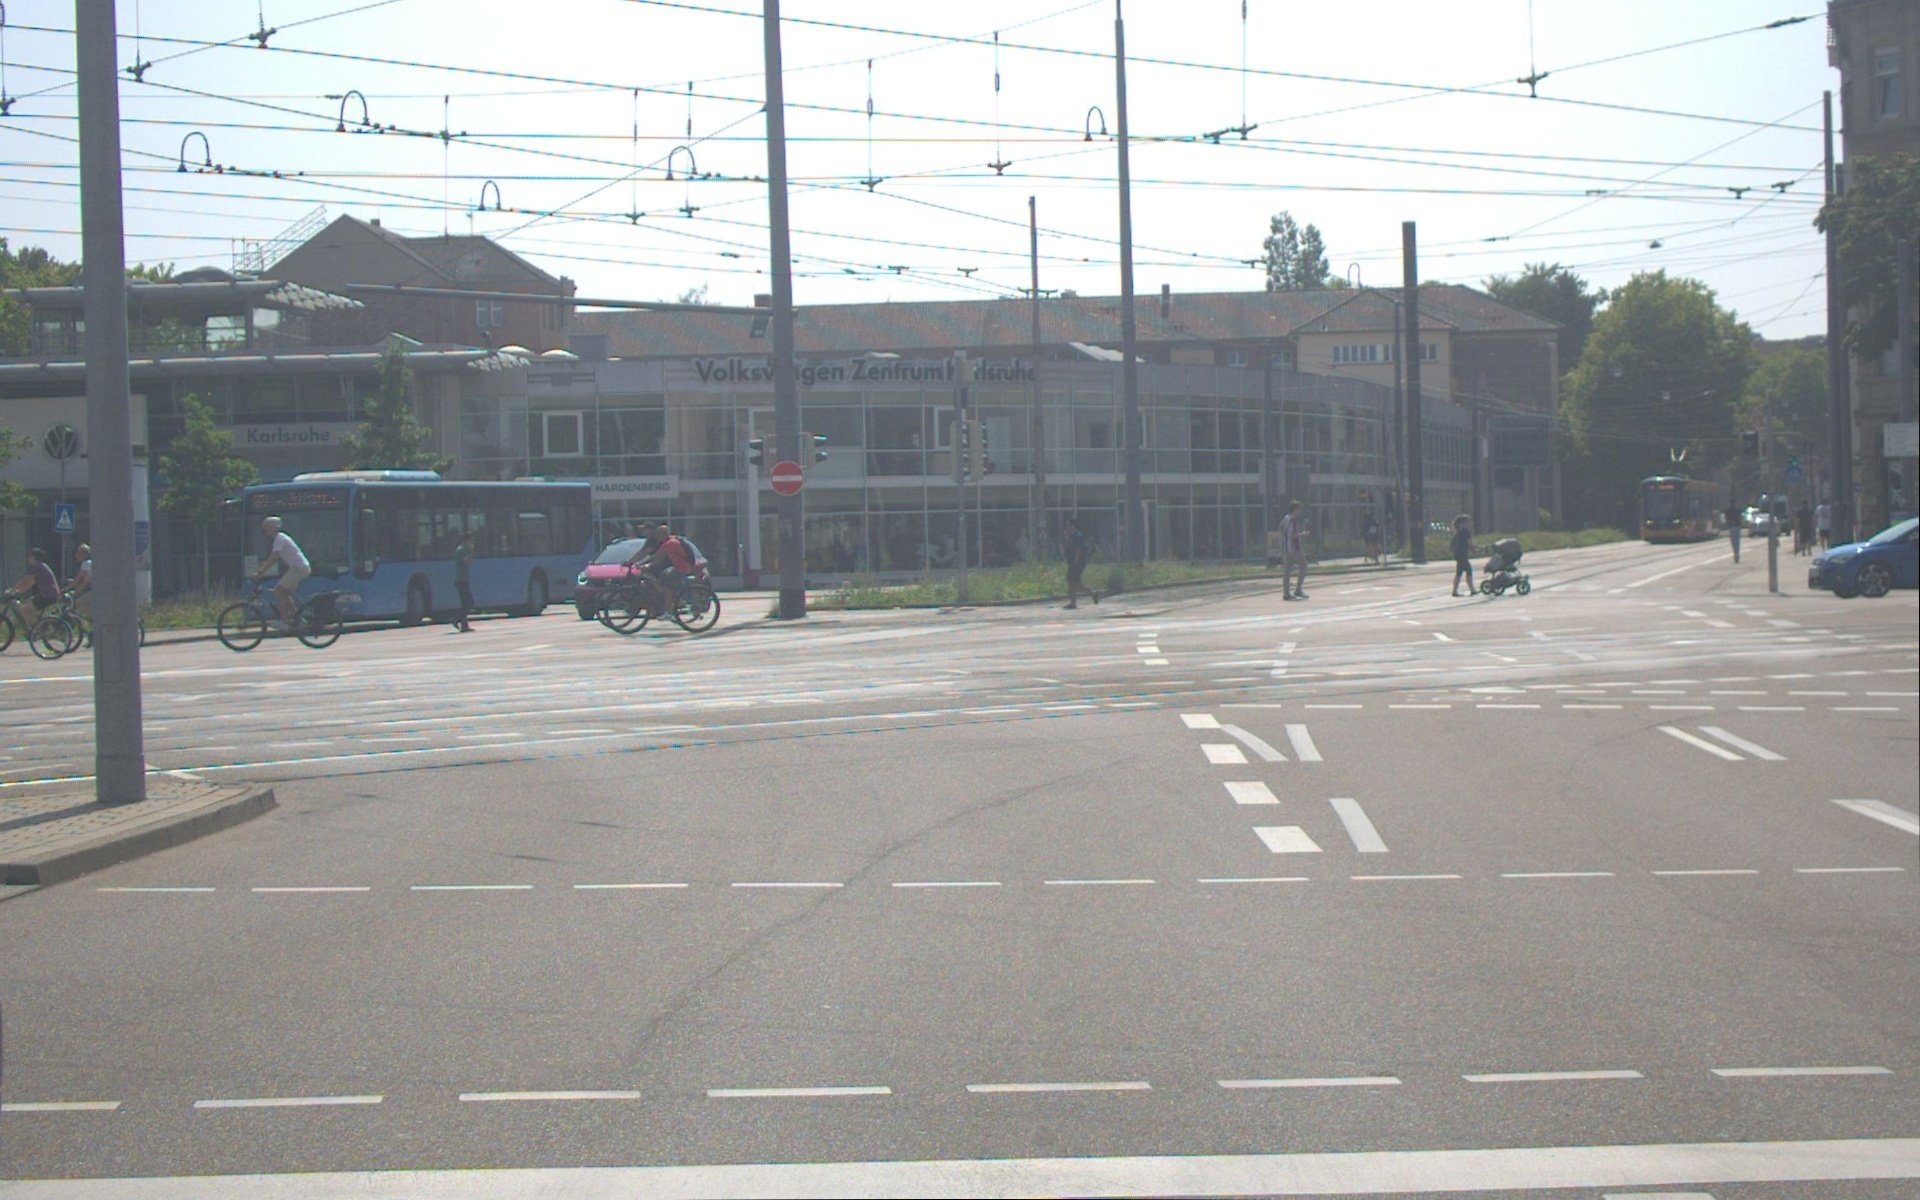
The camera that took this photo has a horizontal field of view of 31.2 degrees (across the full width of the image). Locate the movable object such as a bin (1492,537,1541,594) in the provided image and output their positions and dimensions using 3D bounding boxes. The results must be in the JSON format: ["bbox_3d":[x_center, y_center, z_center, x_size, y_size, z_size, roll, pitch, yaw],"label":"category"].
[{"bbox_3d":[10.849,-0.674,67.039,0.812,1.073,0.512,-1,1,-10],"label":"movable object such as a bin"}]

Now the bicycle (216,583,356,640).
[{"bbox_3d":[-10.172,0.171,51.868,2.048,0.799,0.479,-1,1,-12],"label":"bicycle"}]

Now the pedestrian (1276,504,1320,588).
[{"bbox_3d":[6.514,-1.040,66.258,0.699,1.597,0.573,-1,1,-7],"label":"pedestrian"}]

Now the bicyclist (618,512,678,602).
[{"bbox_3d":[-5.169,-0.712,56.921,0.871,1.470,0.546,-2,1,-17],"label":"bicyclist"}]

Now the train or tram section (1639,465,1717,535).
[{"bbox_3d":[37.707,-5.244,180.282,2.591,3.504,10.889,-1,1,19],"label":"train or tram section"}]

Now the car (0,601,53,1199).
[{"bbox_3d":[-2.937,0.724,5.461,1.766,1.383,3.781,1,1,4],"label":"car"}]

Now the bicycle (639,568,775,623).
[{"bbox_3d":[-3.935,-0.070,53.446,2.048,0.799,0.479,-1,1,-12],"label":"bicycle"}]

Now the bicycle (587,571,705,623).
[{"bbox_3d":[-5.200,-0.054,56.933,1.855,0.799,0.608,-2,1,-18],"label":"bicycle"}]

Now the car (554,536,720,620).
[{"bbox_3d":[-6.303,-0.450,67.556,1.751,1.546,3.997,-1,1,18],"label":"car"}]

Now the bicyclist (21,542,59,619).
[{"bbox_3d":[-15.560,-0.333,58.153,0.544,1.289,0.559,-1,1,-11],"label":"bicyclist"}]

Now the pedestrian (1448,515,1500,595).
[{"bbox_3d":[10.001,-0.875,66.905,0.850,1.539,0.529,-1,1,-7],"label":"pedestrian"}]

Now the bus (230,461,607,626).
[{"bbox_3d":[-10.852,-1.206,70.777,2.564,3.072,12.014,-1,1,17],"label":"bus"}]

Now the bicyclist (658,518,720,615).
[{"bbox_3d":[-4.212,-0.524,53.357,0.871,1.478,0.497,-1,1,-12],"label":"bicyclist"}]

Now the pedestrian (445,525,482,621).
[{"bbox_3d":[-8.759,-0.472,60.673,0.552,1.678,0.454,-1,1,-18],"label":"pedestrian"}]

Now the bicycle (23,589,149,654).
[{"bbox_3d":[-13.350,0.327,52.538,1.813,0.939,0.568,-1,1,-10],"label":"bicycle"}]

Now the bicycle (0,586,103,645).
[{"bbox_3d":[-15.473,0.263,58.261,1.813,0.939,0.416,-1,1,-12],"label":"bicycle"}]

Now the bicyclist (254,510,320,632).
[{"bbox_3d":[-10.150,-0.439,51.841,0.923,1.801,0.497,-1,1,-12],"label":"bicyclist"}]

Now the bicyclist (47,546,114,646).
[{"bbox_3d":[-13.428,-0.069,52.522,0.909,1.503,0.559,-1,1,-10],"label":"bicyclist"}]

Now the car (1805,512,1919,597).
[{"bbox_3d":[16.579,-0.804,58.436,3.986,1.389,1.596,-1,1,-3],"label":"car"}]
